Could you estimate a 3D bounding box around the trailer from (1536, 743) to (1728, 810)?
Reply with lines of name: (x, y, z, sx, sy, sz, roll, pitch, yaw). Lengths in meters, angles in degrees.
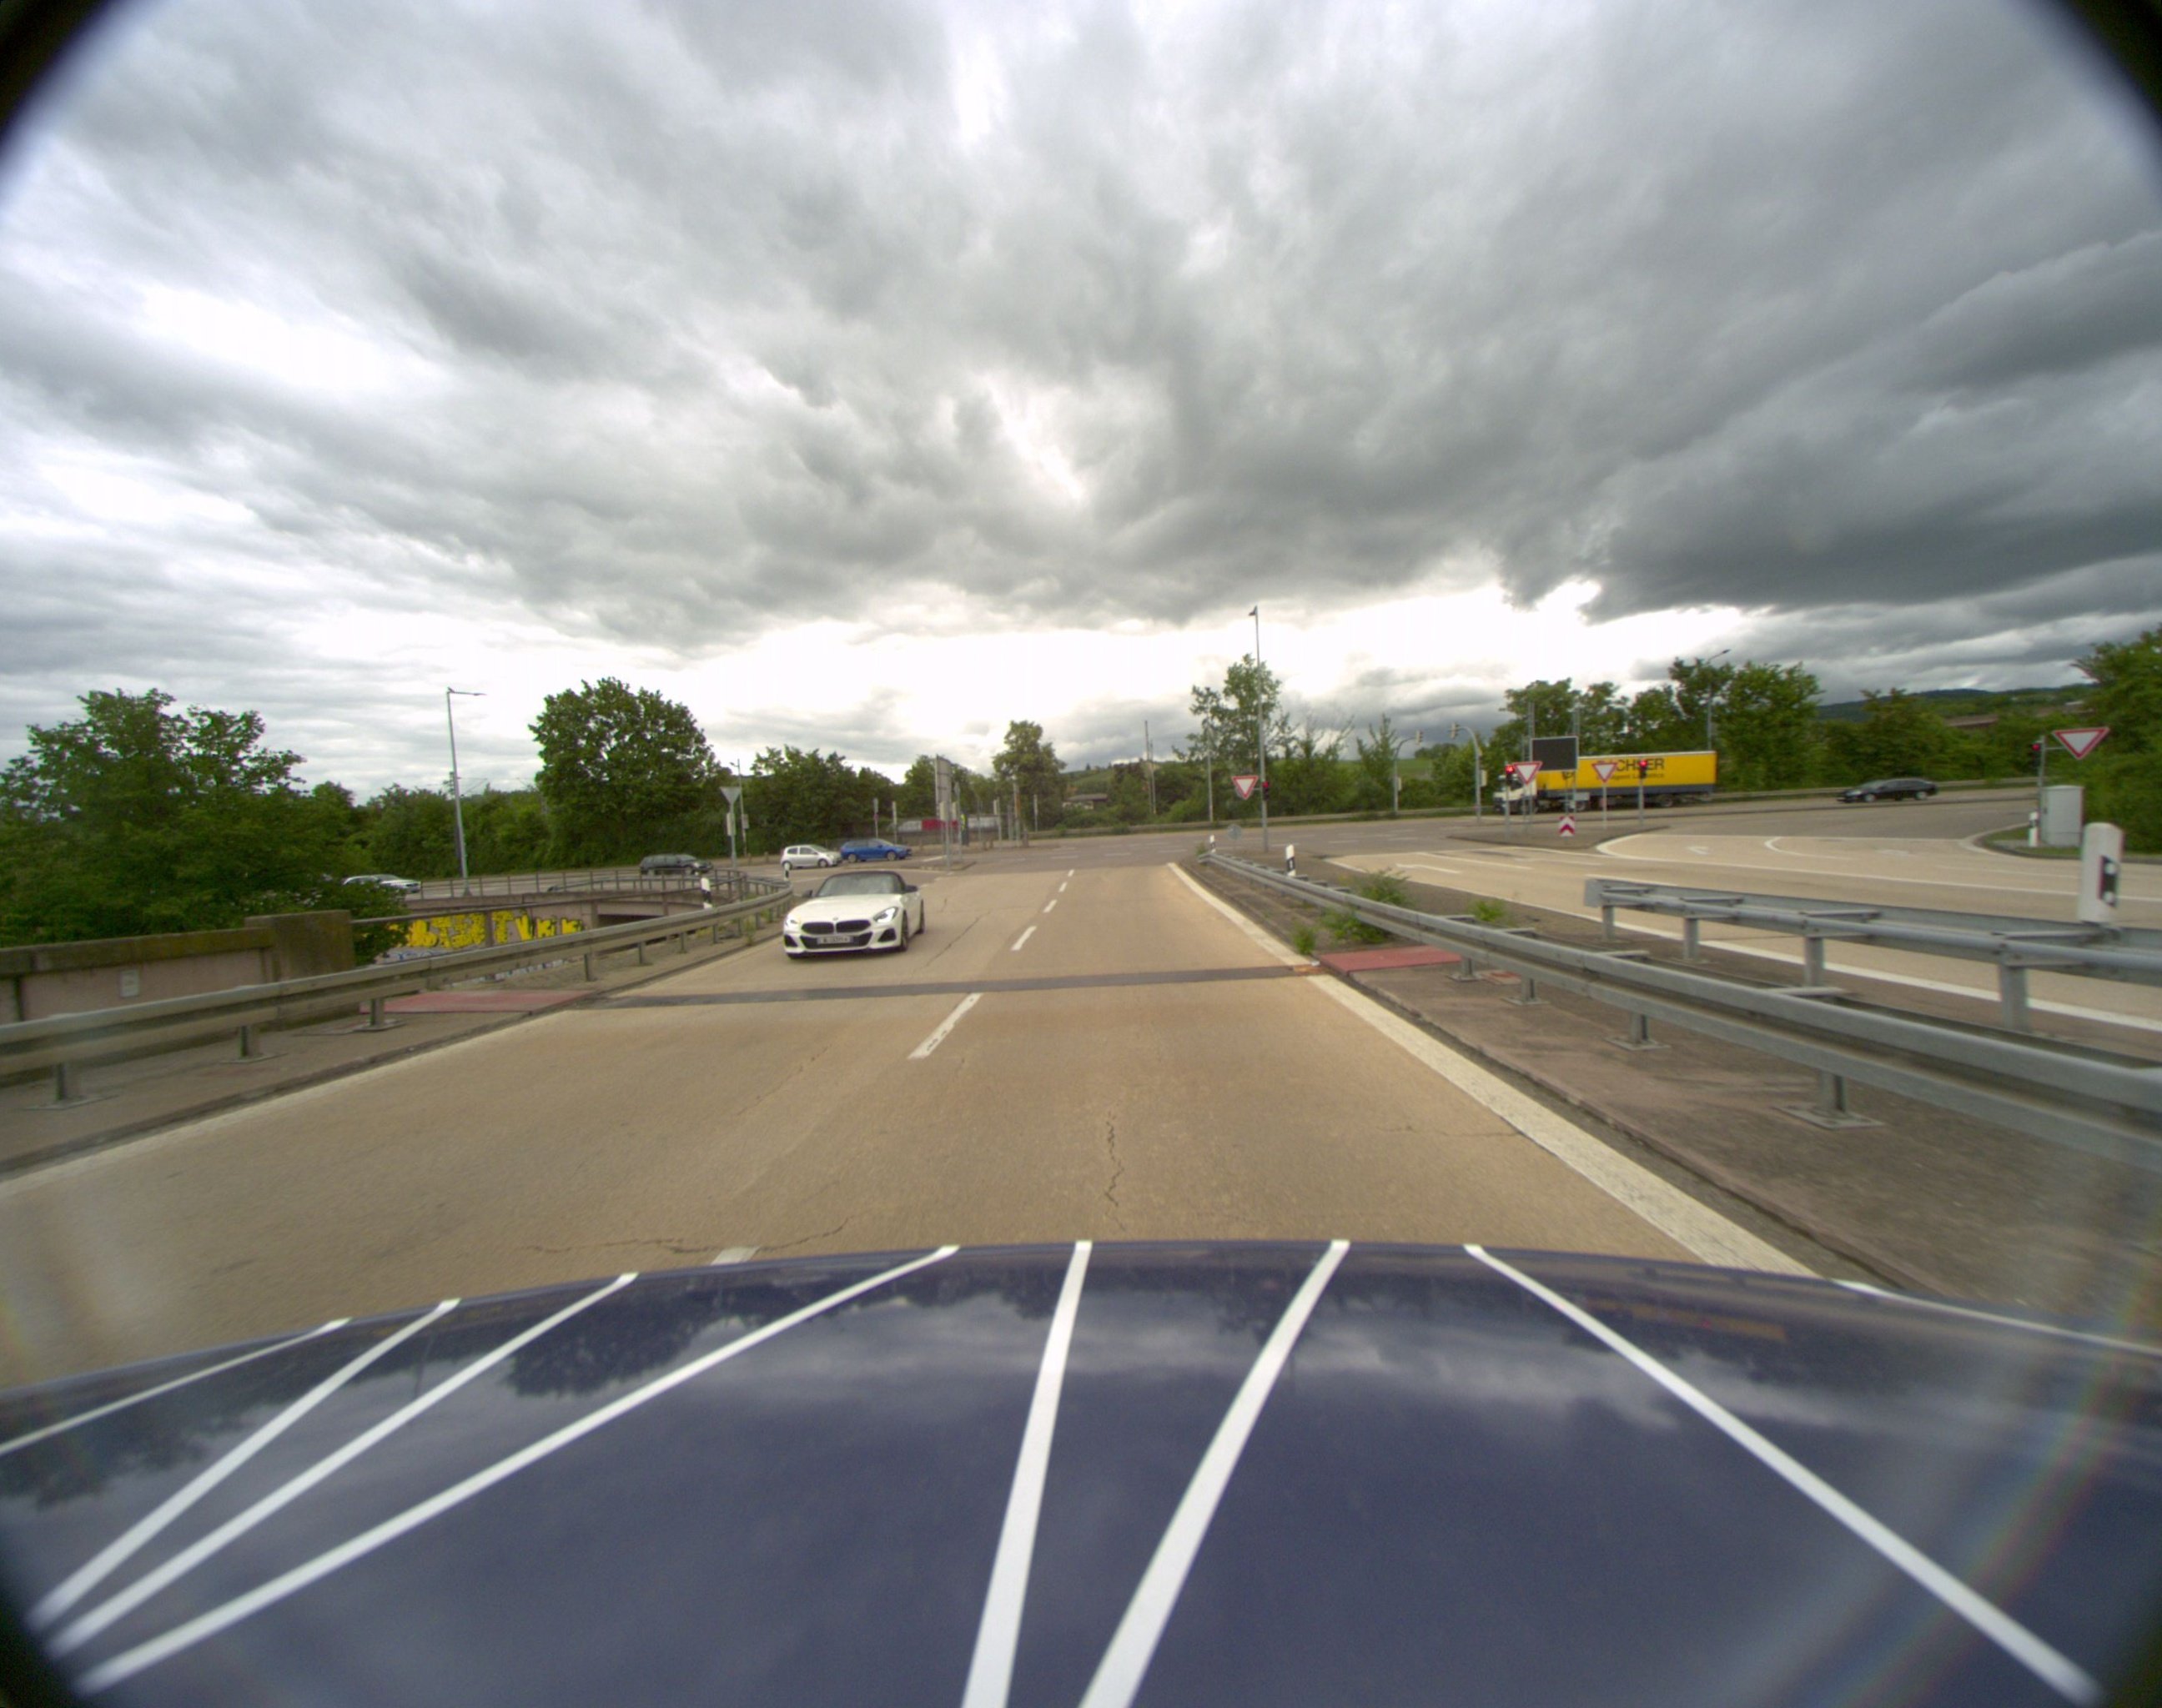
trailer: (40.553, -5.646, 56.293, 11.640, 4.182, 2.635, -2, 4, 8)

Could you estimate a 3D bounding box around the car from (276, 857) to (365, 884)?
car: (-64.857, 1.401, 64.851, 5.487, 1.747, 2.133, -4, 4, 4)

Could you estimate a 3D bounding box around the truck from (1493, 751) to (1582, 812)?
truck: (34.301, -5.401, 57.194, 5.095, 4.182, 2.635, -2, 4, 8)

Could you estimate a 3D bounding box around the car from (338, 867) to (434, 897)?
car: (-46.959, 1.902, 51.384, 4.711, 1.553, 1.877, -4, 4, 3)

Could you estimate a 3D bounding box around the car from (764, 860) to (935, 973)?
car: (-3.897, 0.943, 13.700, 1.863, 1.337, 4.820, -4, 3, -4)

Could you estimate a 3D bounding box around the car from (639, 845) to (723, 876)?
car: (-25.590, 0.421, 48.733, 4.289, 1.548, 1.947, -3, 4, 7)

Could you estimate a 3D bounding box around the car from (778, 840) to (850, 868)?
car: (-16.389, 0.002, 46.736, 3.744, 1.367, 1.628, -3, 4, 8)

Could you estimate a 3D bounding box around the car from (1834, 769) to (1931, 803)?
car: (50.469, -4.302, 47.925, 4.120, 1.653, 1.628, -5, 6, 6)

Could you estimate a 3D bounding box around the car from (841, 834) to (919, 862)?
car: (-12.975, -0.408, 49.173, 4.536, 1.446, 1.610, -3, 5, 9)
